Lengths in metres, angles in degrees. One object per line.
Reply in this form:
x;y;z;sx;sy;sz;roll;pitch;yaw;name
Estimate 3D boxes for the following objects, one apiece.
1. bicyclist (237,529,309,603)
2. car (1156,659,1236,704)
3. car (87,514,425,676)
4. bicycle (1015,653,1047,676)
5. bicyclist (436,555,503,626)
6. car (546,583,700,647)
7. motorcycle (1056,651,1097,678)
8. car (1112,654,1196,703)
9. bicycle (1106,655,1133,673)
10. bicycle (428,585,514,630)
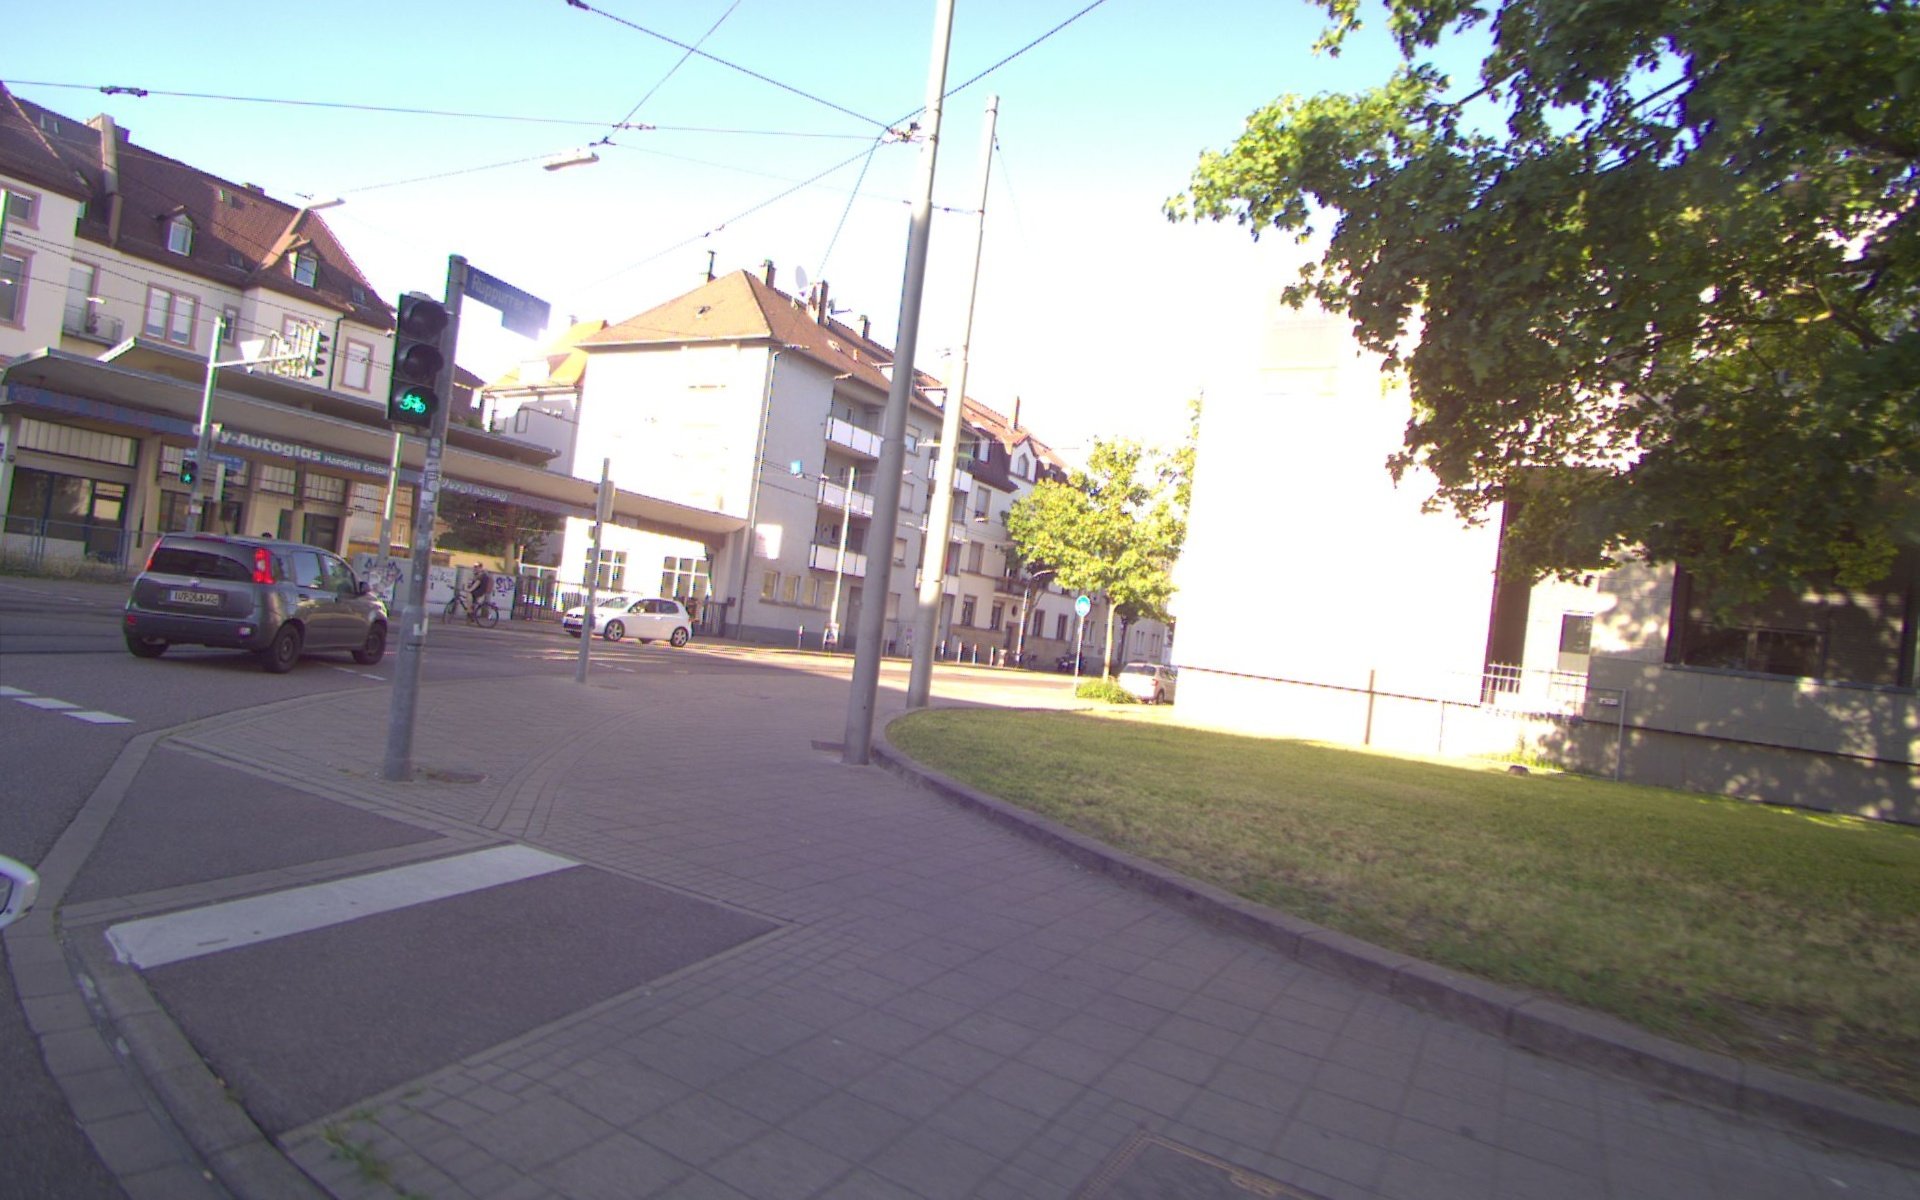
-16.050;-0.784;23.496;0.866;1.544;1.047;6;-1;38;bicyclist
9.652;3.342;40.925;1.814;1.507;4.637;6;-2;30;car
-8.637;-0.003;12.846;1.707;1.518;3.997;8;-2;-7;car
4.181;3.793;59.135;1.679;1.045;0.444;8;-1;11;bicycle
-13.773;-0.245;28.277;0.895;1.808;1.252;6;-1;26;bicyclist
-10.131;0.487;30.574;1.767;1.475;4.183;5;-3;32;car
7.567;4.177;65.177;1.438;1.499;3.098;6;-2;30;motorcycle
7.121;2.887;36.631;1.620;1.472;3.909;6;-2;31;car
11.379;4.588;71.718;1.717;1.035;0.610;8;-1;12;bicycle
-13.773;0.230;28.408;0.715;1.029;2.045;6;-2;31;bicycle
